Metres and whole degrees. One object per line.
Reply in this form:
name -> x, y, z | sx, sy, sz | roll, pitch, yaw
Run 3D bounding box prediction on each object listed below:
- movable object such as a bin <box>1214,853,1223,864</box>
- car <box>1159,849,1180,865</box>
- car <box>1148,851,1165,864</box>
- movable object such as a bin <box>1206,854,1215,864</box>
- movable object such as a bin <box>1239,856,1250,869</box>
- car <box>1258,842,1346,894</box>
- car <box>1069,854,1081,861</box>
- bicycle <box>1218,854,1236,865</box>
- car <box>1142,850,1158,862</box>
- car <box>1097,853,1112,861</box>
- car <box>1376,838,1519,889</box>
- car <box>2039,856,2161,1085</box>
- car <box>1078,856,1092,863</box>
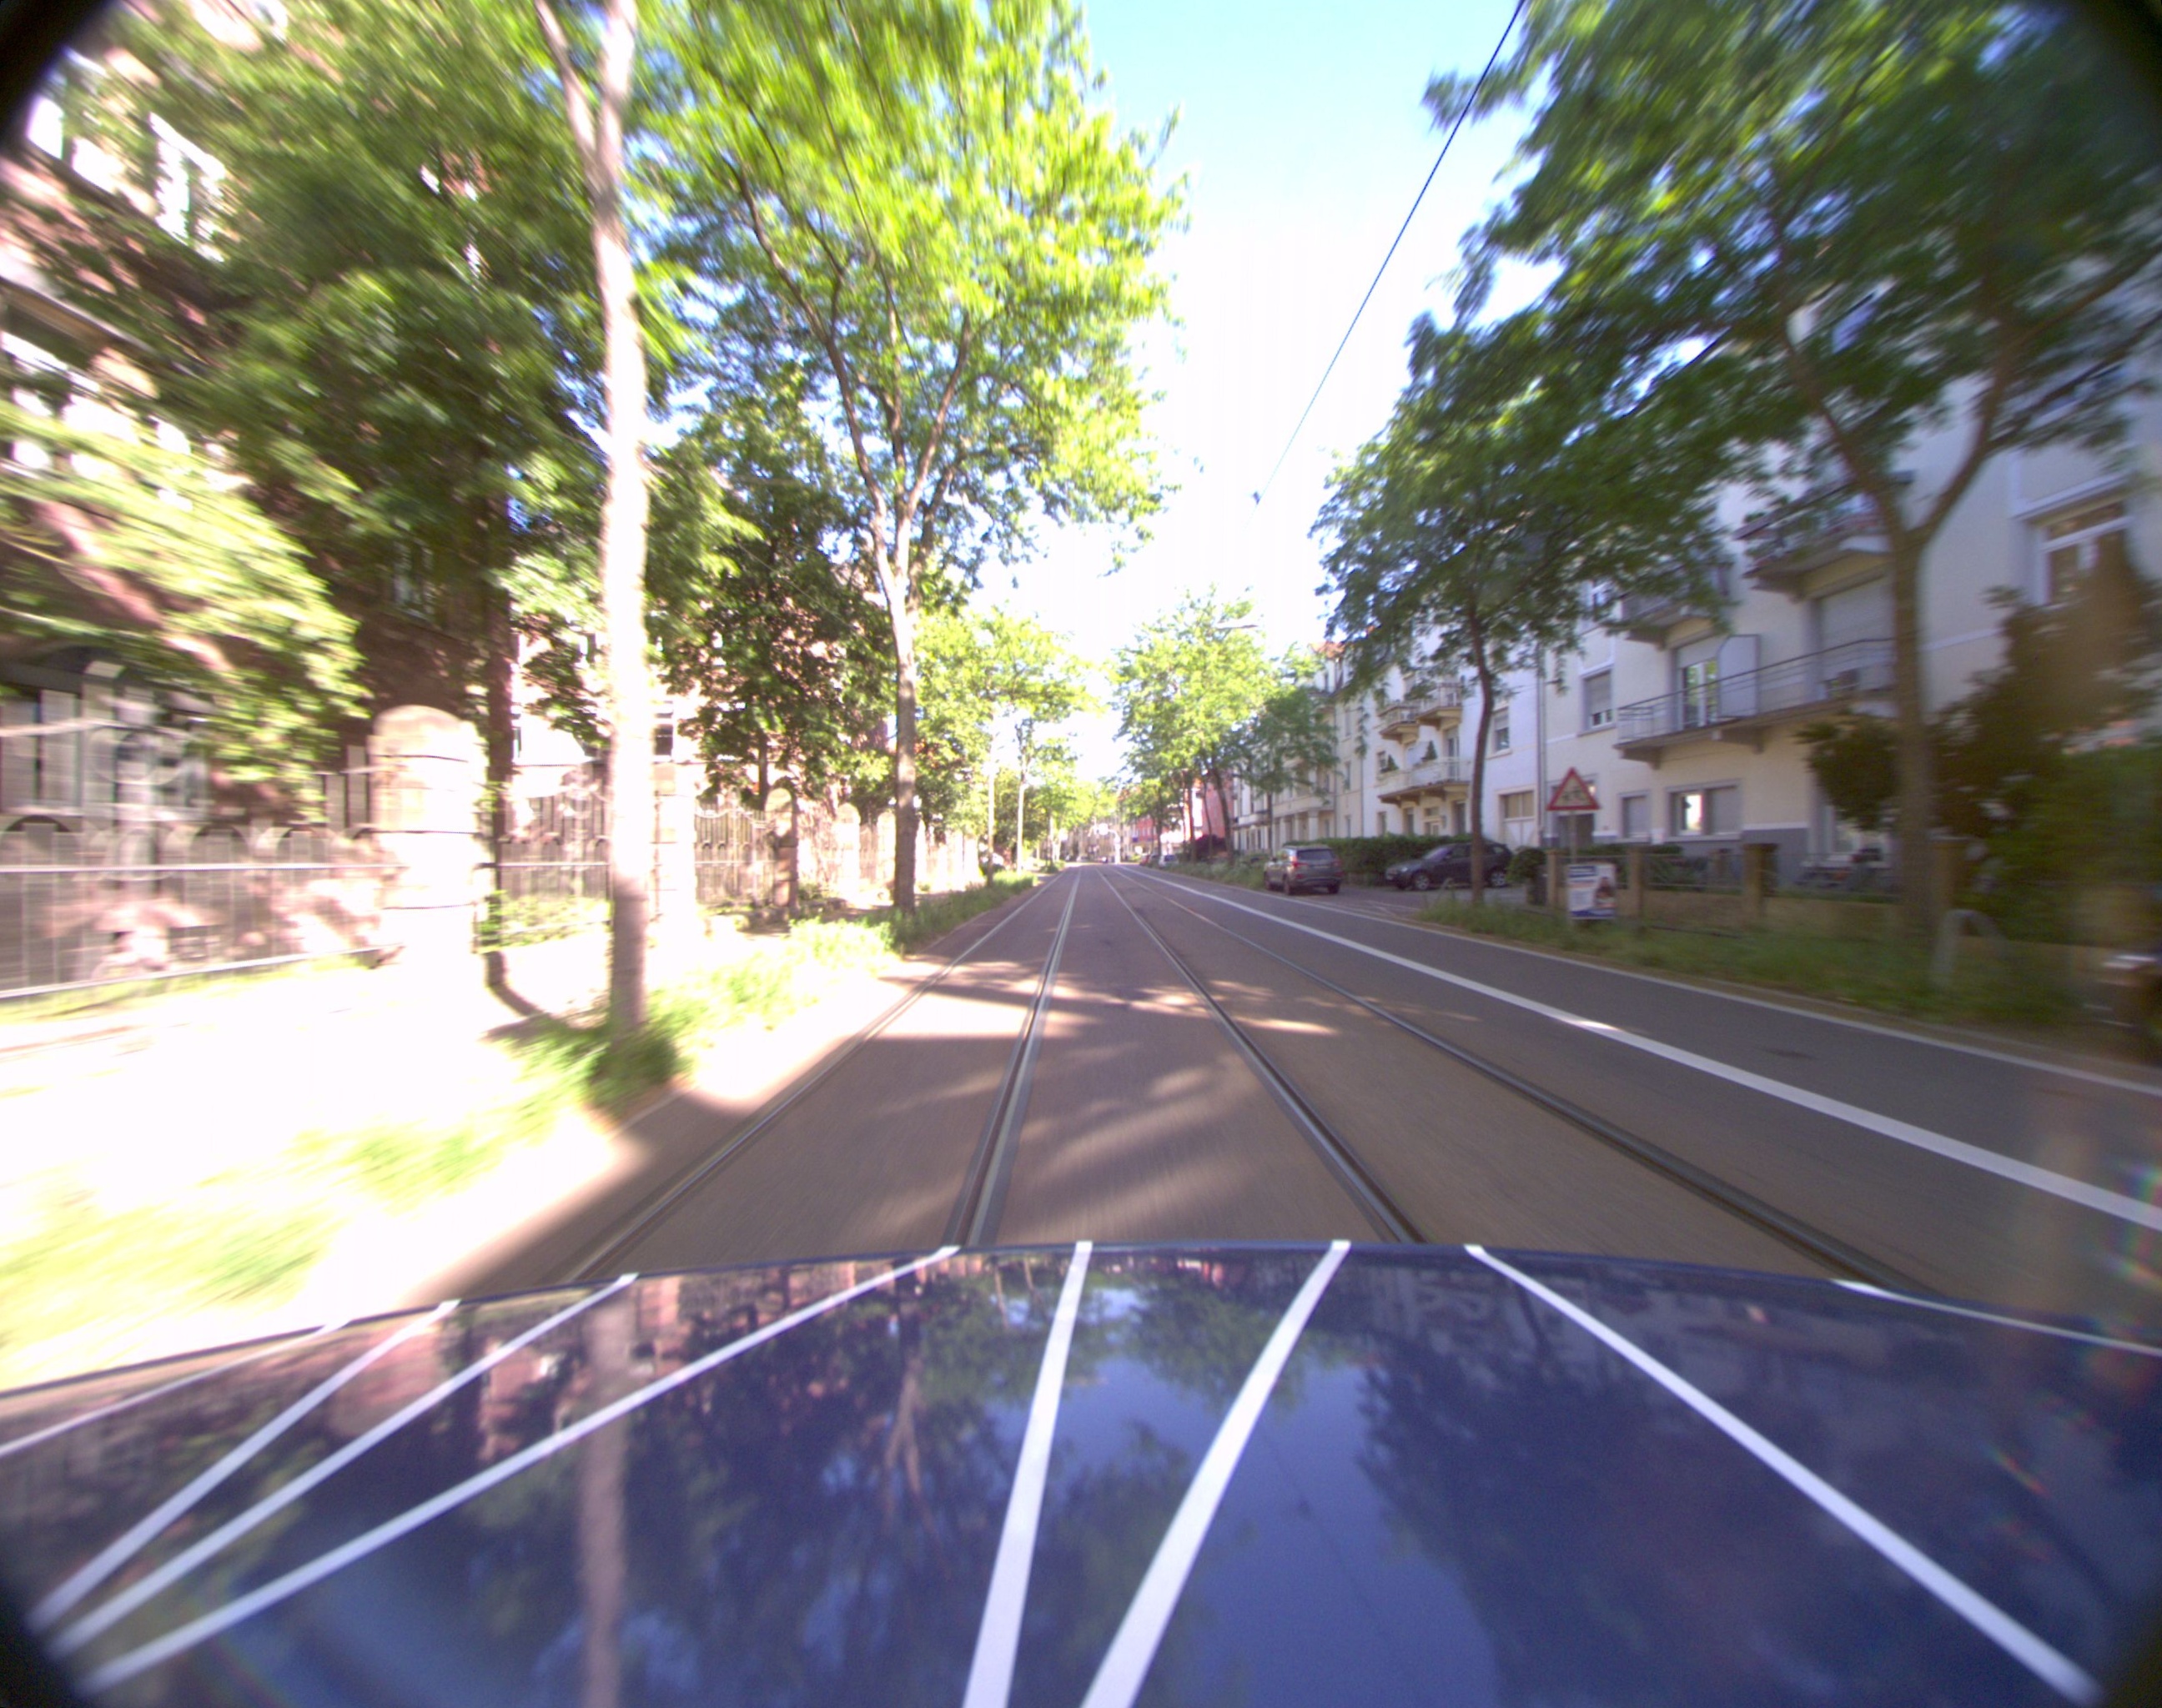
movable object such as a bin -> 13.577, 0.453, 75.229 | 0.739, 1.048, 0.895 | -1, 1, 0
car -> 8.946, 0.277, 77.197 | 1.629, 1.526, 3.689 | -2, 0, -1
car -> 8.822, 0.399, 89.271 | 1.558, 1.446, 3.667 | -2, 0, 0
movable object such as a bin -> 12.822, 0.491, 75.246 | 0.739, 1.035, 0.895 | -1, 1, 0
movable object such as a bin -> 12.032, 0.619, 55.864 | 0.629, 0.916, 0.740 | -2, 1, 1
car -> 8.375, 0.486, 29.257 | 1.875, 1.812, 4.770 | -2, 0, -1
car -> -1.226, 0.788, 158.902 | 1.880, 1.390, 3.996 | -4, 0, -11
bicycle -> 13.045, 0.495, 67.721 | 1.866, 0.991, 0.557 | -1, 1, -43
car -> 8.884, 0.285, 98.094 | 1.577, 1.446, 4.095 | -2, 0, -2
car -> 4.234, 0.566, 139.174 | 1.880, 1.390, 3.996 | -4, 0, -11
car -> 13.448, 0.340, 28.097 | 4.311, 1.651, 1.953 | -2, 1, 2
car -> 8.250, 0.794, 3.598 | 1.781, 1.532, 4.485 | -2, 0, 1
car -> 0.776, 1.092, 150.637 | 1.880, 1.390, 3.996 | -4, 0, -11
